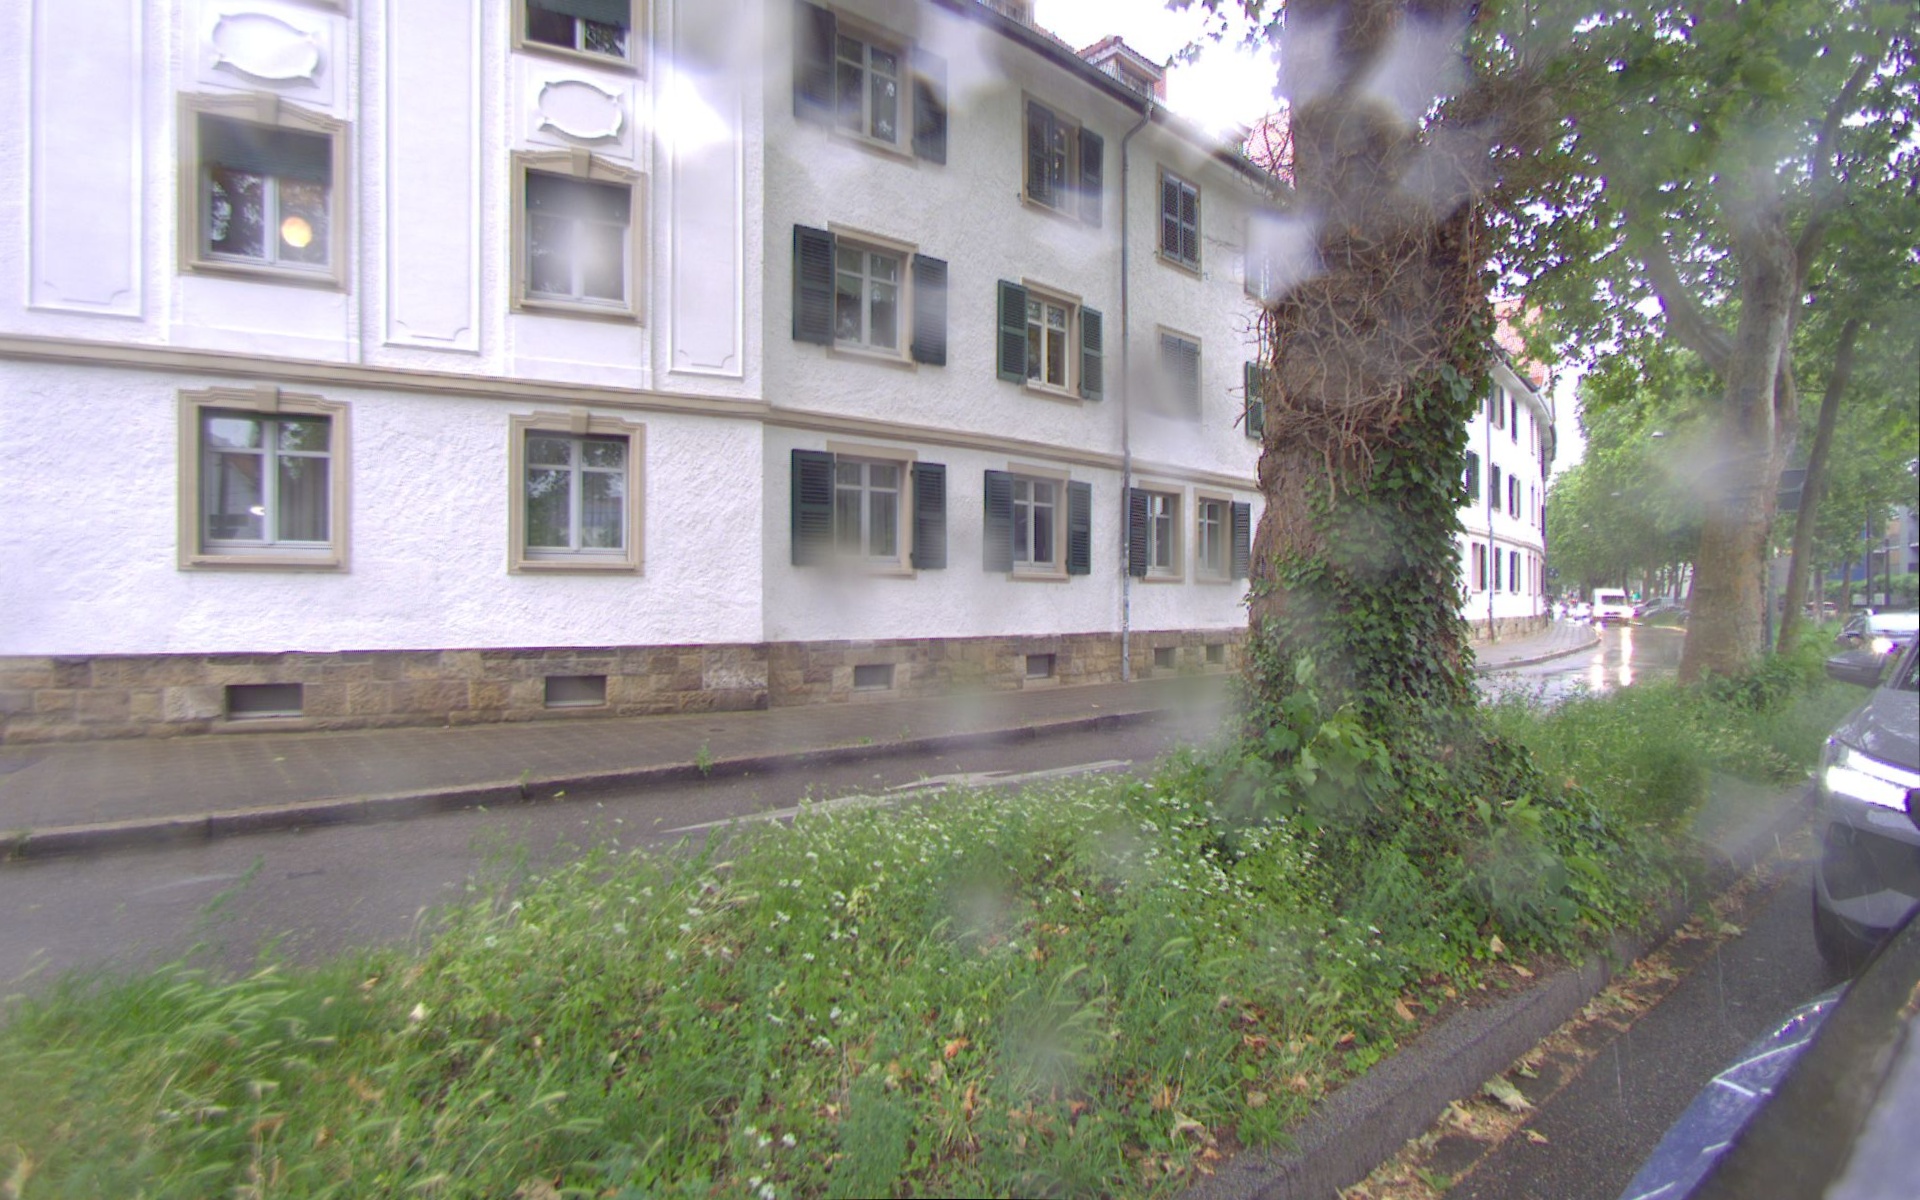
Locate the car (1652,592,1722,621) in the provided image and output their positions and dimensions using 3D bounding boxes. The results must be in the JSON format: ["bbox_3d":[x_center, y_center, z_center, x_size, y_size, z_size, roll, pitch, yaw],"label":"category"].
[{"bbox_3d":[52.634,0.465,73.387,3.969,2.039,1.977,0,-1,32],"label":"car"}]

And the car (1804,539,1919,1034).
[{"bbox_3d":[5.131,0.616,4.311,4.039,1.662,1.913,0,0,-44],"label":"car"}]

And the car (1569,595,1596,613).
[{"bbox_3d":[53.512,0.323,87.025,1.816,1.545,3.959,0,0,29],"label":"car"}]

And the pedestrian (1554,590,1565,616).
[{"bbox_3d":[42.529,0.234,71.824,0.668,1.845,0.672,0,0,31],"label":"pedestrian"}]

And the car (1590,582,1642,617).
[{"bbox_3d":[44.795,-0.068,69.251,2.173,2.292,5.366,0,0,24],"label":"car"}]

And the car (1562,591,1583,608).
[{"bbox_3d":[79.634,-0.055,131.651,1.983,2.038,3.961,5,3,28],"label":"car"}]

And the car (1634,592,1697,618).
[{"bbox_3d":[55.901,0.381,80.292,3.969,2.039,1.977,0,-1,32],"label":"car"}]

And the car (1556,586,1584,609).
[{"bbox_3d":[59.496,-0.240,98.816,1.983,2.038,3.961,5,3,28],"label":"car"}]
